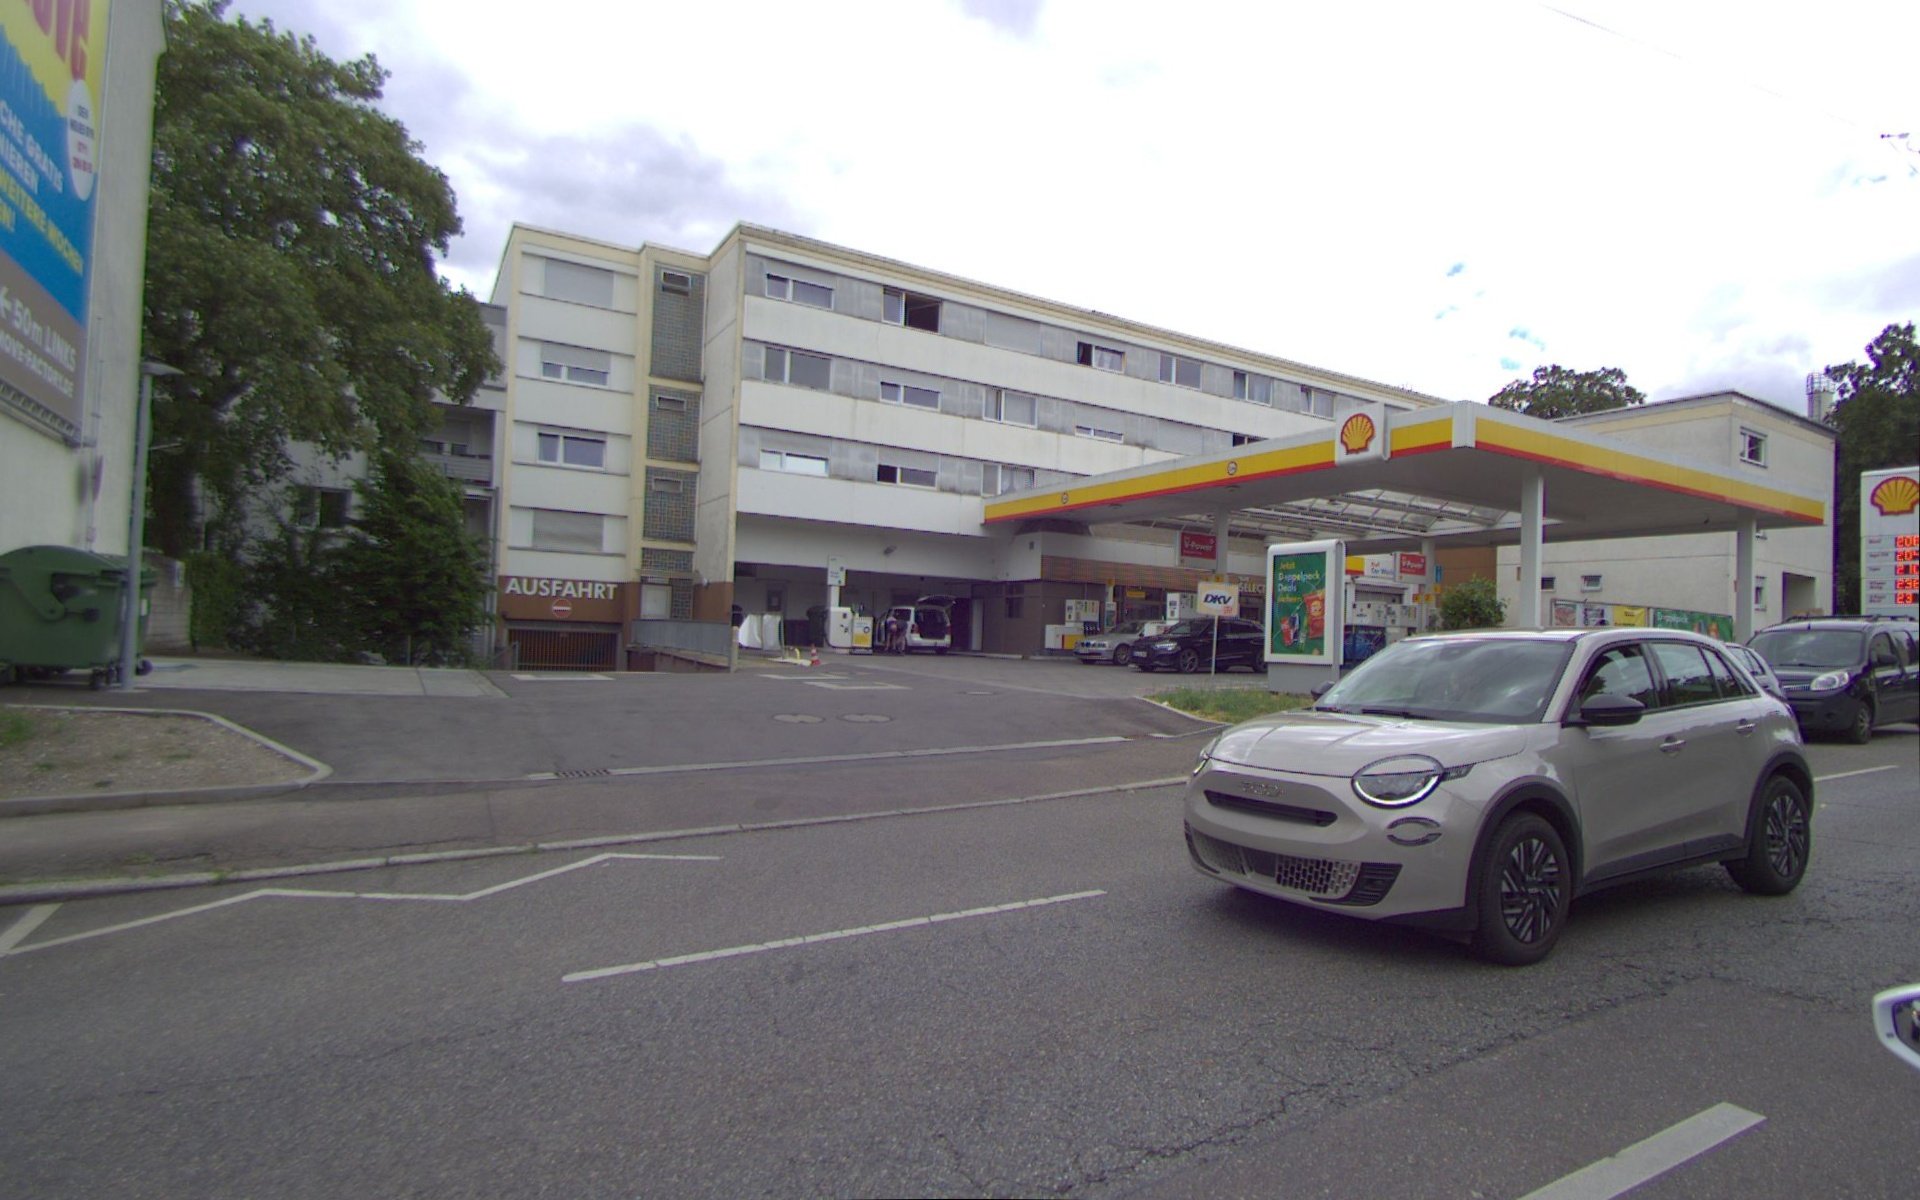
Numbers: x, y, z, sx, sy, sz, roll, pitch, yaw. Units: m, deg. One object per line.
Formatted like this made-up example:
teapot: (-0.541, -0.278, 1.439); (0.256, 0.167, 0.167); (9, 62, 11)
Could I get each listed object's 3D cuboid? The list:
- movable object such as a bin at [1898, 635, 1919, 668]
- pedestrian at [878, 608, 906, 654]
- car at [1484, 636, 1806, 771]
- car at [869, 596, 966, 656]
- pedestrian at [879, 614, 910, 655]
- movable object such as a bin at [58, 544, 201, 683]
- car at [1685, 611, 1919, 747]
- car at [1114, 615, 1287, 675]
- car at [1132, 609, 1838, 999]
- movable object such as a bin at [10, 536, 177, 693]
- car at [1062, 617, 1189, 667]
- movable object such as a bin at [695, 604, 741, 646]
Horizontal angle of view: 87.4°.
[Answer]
movable object such as a bin: (42.805, 2.298, 44.695); (0.903, 1.447, 1.385); (1, -1, -32)
pedestrian: (-2.339, 1.060, 34.508); (0.656, 1.537, 0.795); (1, 0, -27)
car: (8.794, 1.205, 12.829); (4.169, 1.469, 1.782); (1, -3, -30)
car: (-1.545, 0.896, 35.317); (1.814, 1.989, 3.877); (2, -1, -30)
pedestrian: (-2.141, 1.139, 33.056); (0.792, 1.332, 0.659); (1, 0, -32)
movable object such as a bin: (-9.890, 0.188, 12.035); (1.091, 1.558, 1.259); (1, -3, -30)
car: (13.492, 1.152, 15.725); (4.649, 1.859, 1.842); (1, -3, -32)
car: (6.292, 1.145, 26.170); (4.365, 1.439, 1.789); (1, -1, -30)
car: (3.102, 0.879, 5.796); (3.953, 1.545, 1.789); (1, -3, -30)
movable object such as a bin: (-9.234, 0.175, 10.786); (1.091, 1.558, 1.259); (1, -3, -30)
car: (5.123, 1.260, 31.072); (3.593, 1.439, 1.789); (1, -1, -30)
movable object such as a bin: (-8.412, 0.868, 34.916); (1.230, 1.391, 1.144); (2, -1, -32)
